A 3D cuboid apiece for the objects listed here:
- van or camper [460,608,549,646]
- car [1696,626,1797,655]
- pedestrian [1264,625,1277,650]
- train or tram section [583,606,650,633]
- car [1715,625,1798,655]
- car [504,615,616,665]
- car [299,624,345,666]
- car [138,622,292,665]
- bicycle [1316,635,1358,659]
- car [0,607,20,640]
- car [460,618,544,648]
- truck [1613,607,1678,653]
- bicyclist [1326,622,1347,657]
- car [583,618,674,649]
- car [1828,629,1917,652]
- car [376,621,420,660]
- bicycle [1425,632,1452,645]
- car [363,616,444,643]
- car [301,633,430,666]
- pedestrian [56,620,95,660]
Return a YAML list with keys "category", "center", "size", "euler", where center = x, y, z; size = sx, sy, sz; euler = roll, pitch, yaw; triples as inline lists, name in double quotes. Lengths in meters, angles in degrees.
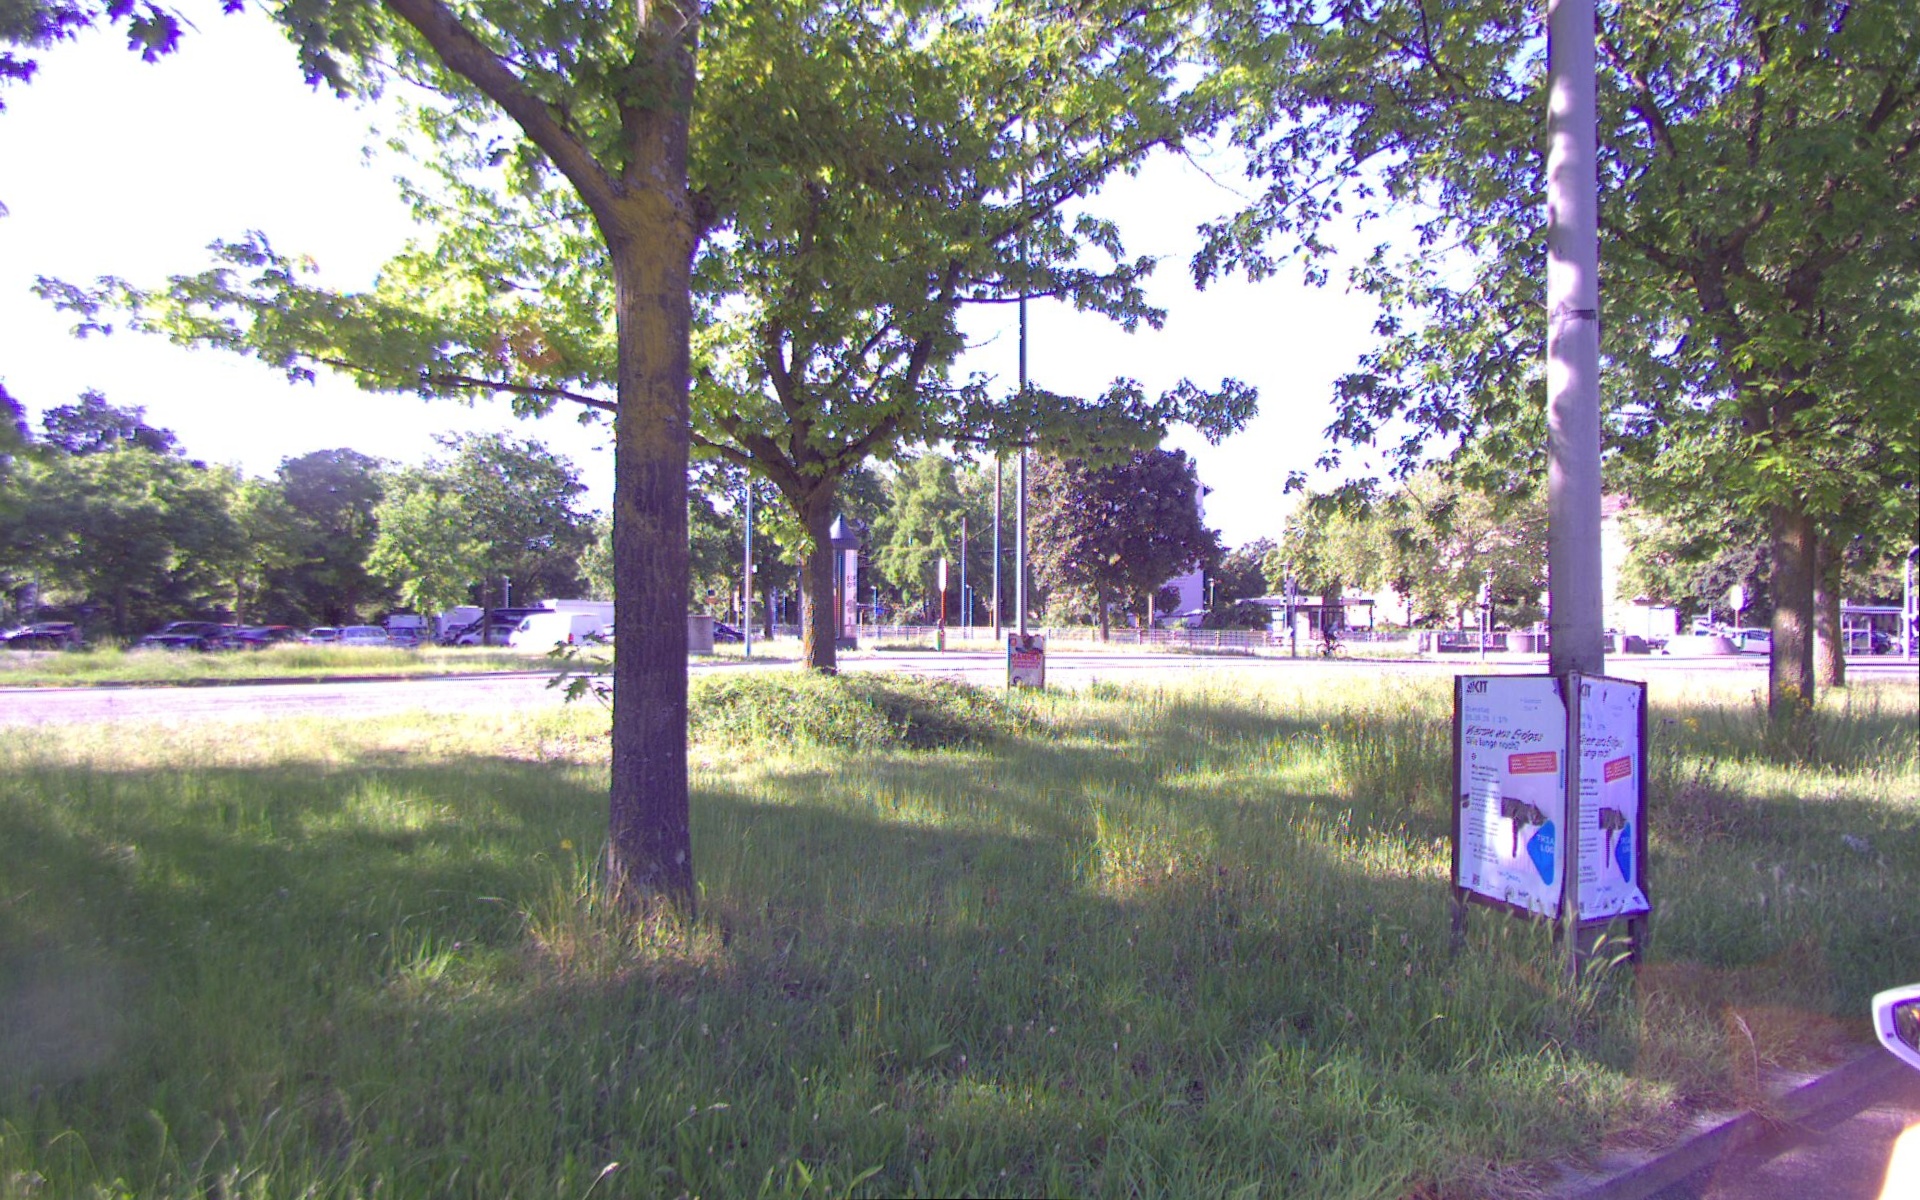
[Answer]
- category: "van or camper"
  center: [-26.199, 1.566, 57.949]
  size: [4.326, 2.124, 1.995]
  euler: [1, -1, -14]
- category: "car"
  center: [47.757, 2.468, 61.089]
  size: [4.457, 1.565, 1.873]
  euler: [0, 2, 14]
- category: "pedestrian"
  center: [22.532, 2.713, 72.828]
  size: [0.714, 1.853, 0.559]
  euler: [1, -1, -9]
- category: "train or tram section"
  center: [-41.386, 2.272, 120.254]
  size: [2.444, 2.979, 19.655]
  euler: [1, -1, -34]
- category: "car"
  center: [50.163, 2.484, 63.301]
  size: [3.922, 1.741, 1.763]
  euler: [0, 2, -3]
- category: "car"
  center: [-17.439, 1.672, 43.707]
  size: [4.917, 2.040, 2.232]
  euler: [0, -1, 35]
- category: "car"
  center: [-29.776, 2.062, 46.949]
  size: [1.635, 1.628, 3.854]
  euler: [1, 2, -30]
- category: "car"
  center: [-26.258, 1.524, 35.512]
  size: [3.929, 1.467, 1.819]
  euler: [1, -1, -11]
- category: "bicycle"
  center: [16.690, 2.070, 44.460]
  size: [1.626, 1.014, 0.614]
  euler: [1, -1, -1]
- category: "car"
  center: [-55.141, 1.291, 55.738]
  size: [4.097, 1.824, 1.980]
  euler: [1, -1, -36]
- category: "car"
  center: [-25.322, 1.820, 55.632]
  size: [3.932, 1.493, 1.963]
  euler: [0, 1, -14]
- category: "truck"
  center: [46.574, 1.981, 68.360]
  size: [1.959, 3.035, 4.831]
  euler: [0, 0, 13]
- category: "bicyclist"
  center: [16.668, 1.748, 44.470]
  size: [0.663, 1.551, 0.614]
  euler: [0, 1, -1]
- category: "car"
  center: [-15.215, 1.522, 46.044]
  size: [3.934, 1.299, 1.994]
  euler: [0, -1, 35]
- category: "car"
  center: [63.616, 2.783, 70.111]
  size: [1.651, 1.468, 4.360]
  euler: [1, -1, -34]
- category: "car"
  center: [-27.360, 1.938, 49.009]
  size: [1.632, 1.628, 3.859]
  euler: [1, 2, -26]
- category: "bicycle"
  center: [34.380, 2.771, 72.148]
  size: [1.652, 0.850, 0.548]
  euler: [0, -1, 18]
- category: "car"
  center: [-32.456, 1.717, 58.712]
  size: [3.943, 1.530, 1.989]
  euler: [1, -1, -23]
- category: "car"
  center: [-22.077, 1.801, 37.338]
  size: [3.962, 1.143, 1.803]
  euler: [1, -1, -37]
- category: "pedestrian"
  center: [-32.626, 1.456, 37.064]
  size: [0.863, 1.437, 0.994]
  euler: [1, -1, -30]
